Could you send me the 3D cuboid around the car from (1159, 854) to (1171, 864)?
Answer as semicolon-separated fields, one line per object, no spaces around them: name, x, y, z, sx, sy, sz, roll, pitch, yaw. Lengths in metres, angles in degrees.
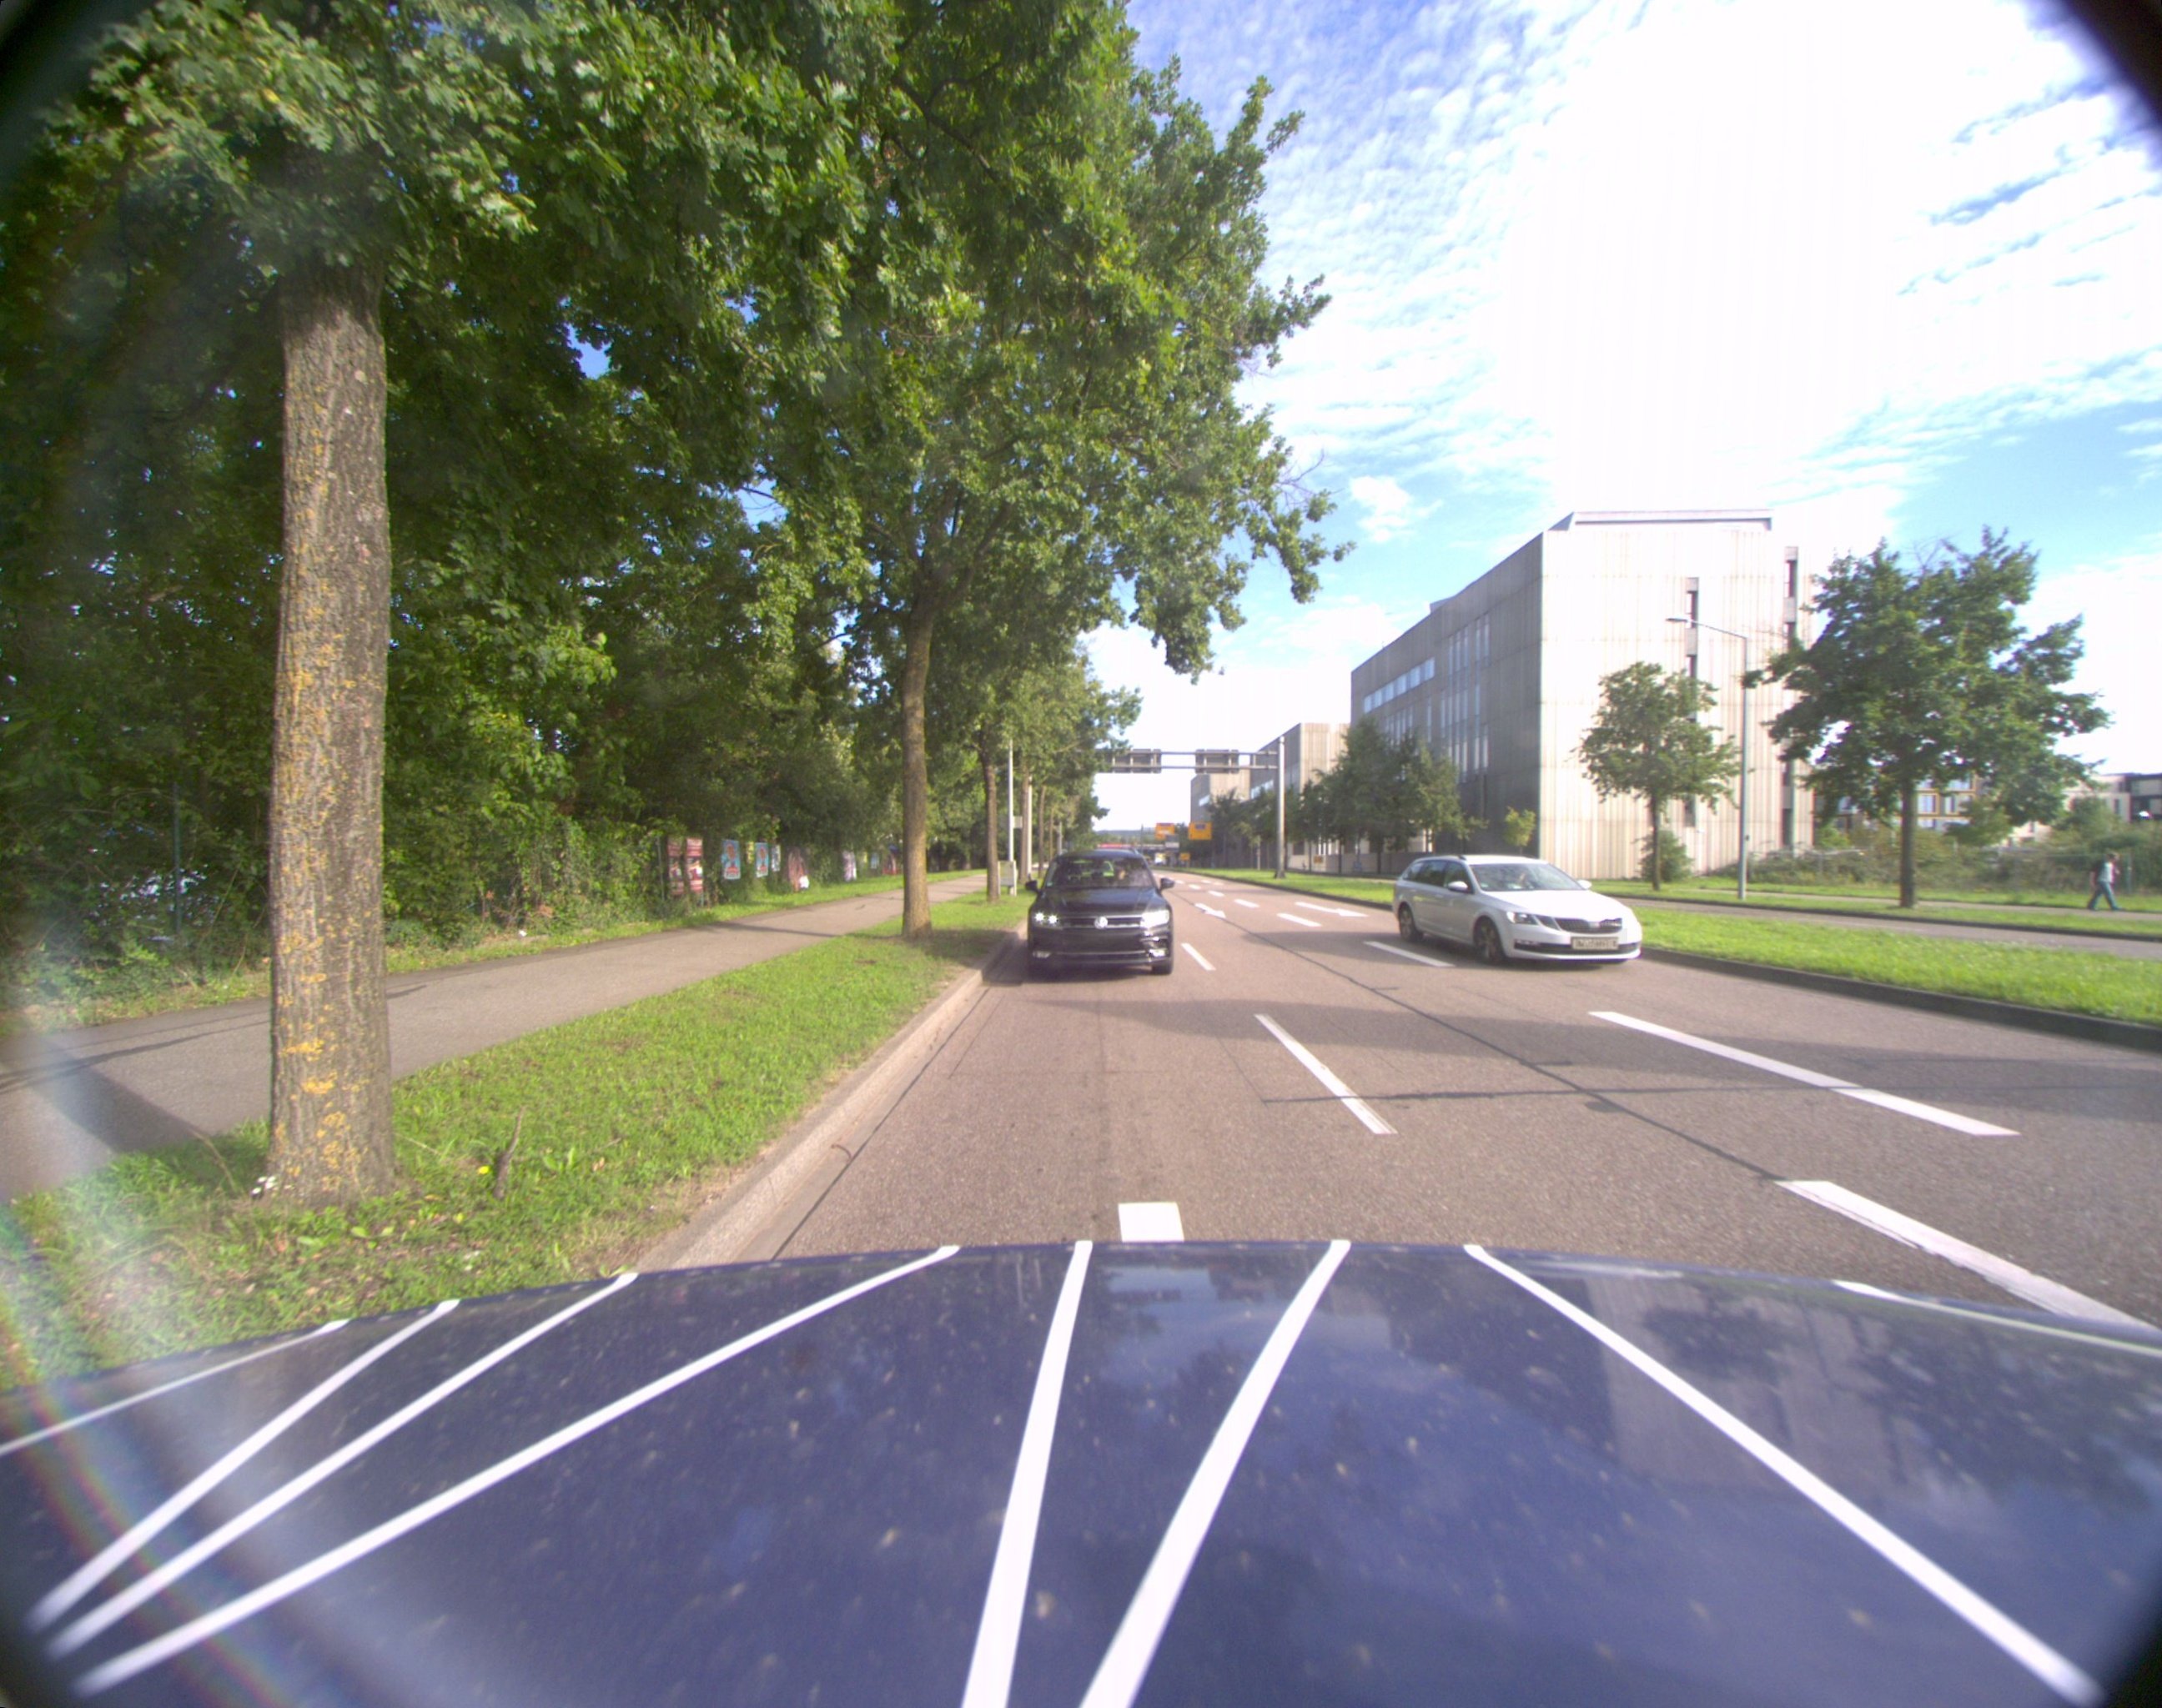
car;17.366;0.954;157.568;1.998;2.002;4.000;1;0;0

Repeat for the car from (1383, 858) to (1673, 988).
car;6.201;0.831;11.270;1.702;1.490;4.481;-1;0;1

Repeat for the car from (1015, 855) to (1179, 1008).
car;0.237;0.867;10.334;1.775;1.637;3.869;-1;0;2

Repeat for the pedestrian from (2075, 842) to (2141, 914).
pedestrian;29.478;0.675;21.822;0.676;2.002;0.867;1;0;0
